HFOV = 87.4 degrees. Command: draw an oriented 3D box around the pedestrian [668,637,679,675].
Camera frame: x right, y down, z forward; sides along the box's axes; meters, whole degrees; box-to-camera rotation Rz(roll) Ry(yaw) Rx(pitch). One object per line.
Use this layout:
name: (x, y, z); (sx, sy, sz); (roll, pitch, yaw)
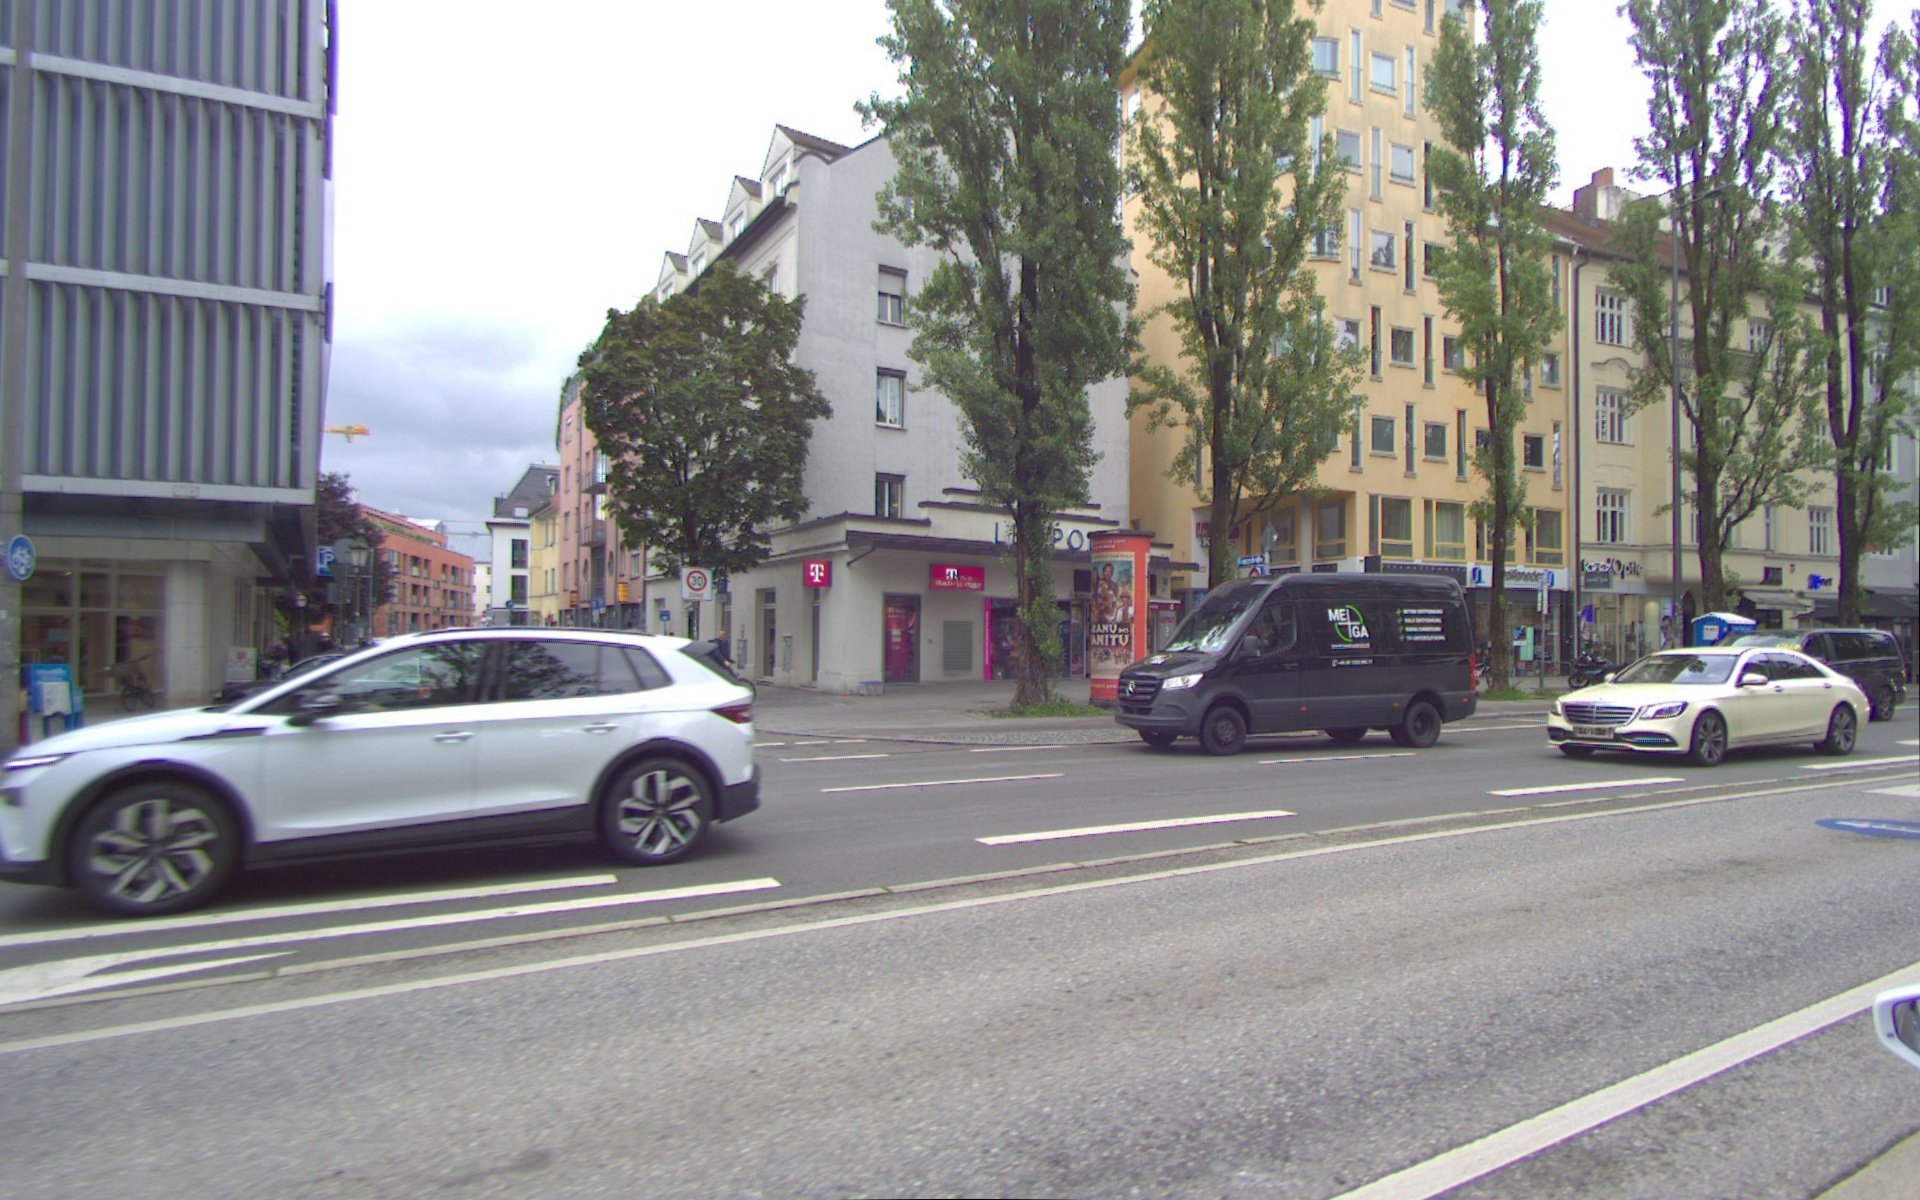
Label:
pedestrian: (-11.678, 2.266, 40.961); (0.346, 1.533, 0.308); (1, -2, -32)

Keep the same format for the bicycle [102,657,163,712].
bicycle: (-17.532, 1.760, 21.320); (0.549, 1.097, 1.815); (1, -3, -26)

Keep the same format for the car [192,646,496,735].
car: (-10.831, 1.549, 17.808); (4.416, 1.458, 1.930); (-1, -2, 11)

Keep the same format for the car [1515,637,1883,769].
car: (10.534, 1.365, 14.280); (5.125, 1.609, 1.988); (1, -4, -25)

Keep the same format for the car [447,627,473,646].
car: (-46.973, 3.443, 94.456); (2.049, 1.729, 4.213); (1, -2, -24)

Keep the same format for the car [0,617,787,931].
car: (-3.570, 0.978, 7.036); (4.299, 1.624, 1.903); (1, -3, -27)

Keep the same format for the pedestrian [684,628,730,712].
pedestrian: (-5.943, 1.635, 23.576); (0.823, 1.923, 0.853); (1, -3, -30)

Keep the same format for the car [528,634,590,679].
car: (-17.701, 2.441, 44.271); (1.976, 1.888, 4.205); (1, -2, -30)

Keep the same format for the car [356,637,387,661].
car: (-42.204, 3.479, 72.042); (1.830, 1.684, 4.205); (1, -2, -30)

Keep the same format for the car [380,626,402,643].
car: (-56.552, 3.420, 99.828); (1.830, 1.684, 4.205); (1, -2, -30)

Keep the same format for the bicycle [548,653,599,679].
bicycle: (-15.375, 2.613, 39.972); (1.858, 0.976, 0.456); (1, -2, -30)

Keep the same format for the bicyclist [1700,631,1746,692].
bicyclist: (20.420, 1.633, 26.884); (1.091, 1.601, 0.495); (1, -2, -24)

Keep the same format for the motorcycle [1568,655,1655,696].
motorcycle: (18.830, 2.166, 29.066); (0.483, 1.050, 2.036); (2, -1, -42)

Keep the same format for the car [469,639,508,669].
car: (-30.777, 3.498, 65.517); (1.976, 1.843, 4.205); (1, -2, -30)

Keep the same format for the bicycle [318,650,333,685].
bicycle: (-20.601, 2.180, 32.598); (0.349, 1.094, 1.674); (1, -3, -34)

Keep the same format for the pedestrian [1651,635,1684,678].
pedestrian: (26.304, 2.098, 37.358); (0.804, 1.582, 0.633); (1, -2, -21)

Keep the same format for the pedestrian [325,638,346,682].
pedestrian: (-22.093, 2.125, 35.517); (0.607, 1.525, 0.560); (1, -2, -34)

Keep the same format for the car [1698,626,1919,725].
car: (18.522, 1.554, 21.330); (5.631, 1.887, 1.990); (1, -4, -24)

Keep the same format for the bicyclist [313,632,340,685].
bicyclist: (-20.559, 1.898, 32.591); (0.709, 1.694, 0.746); (1, -2, -34)

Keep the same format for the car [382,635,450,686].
car: (-19.109, 2.073, 35.253); (1.976, 1.684, 4.205); (1, -2, -30)

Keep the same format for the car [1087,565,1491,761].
car: (5.130, 0.937, 15.673); (5.973, 2.639, 2.167); (1, -2, -21)

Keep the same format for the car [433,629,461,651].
car: (-42.535, 3.331, 83.350); (1.975, 1.729, 4.209); (1, -2, -27)

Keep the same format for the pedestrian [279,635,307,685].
pedestrian: (-22.921, 2.044, 34.517); (0.747, 1.694, 0.709); (2, -2, -38)

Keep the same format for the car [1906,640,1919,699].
car: (29.353, 1.977, 28.695); (4.108, 1.650, 1.859); (1, -3, -23)
